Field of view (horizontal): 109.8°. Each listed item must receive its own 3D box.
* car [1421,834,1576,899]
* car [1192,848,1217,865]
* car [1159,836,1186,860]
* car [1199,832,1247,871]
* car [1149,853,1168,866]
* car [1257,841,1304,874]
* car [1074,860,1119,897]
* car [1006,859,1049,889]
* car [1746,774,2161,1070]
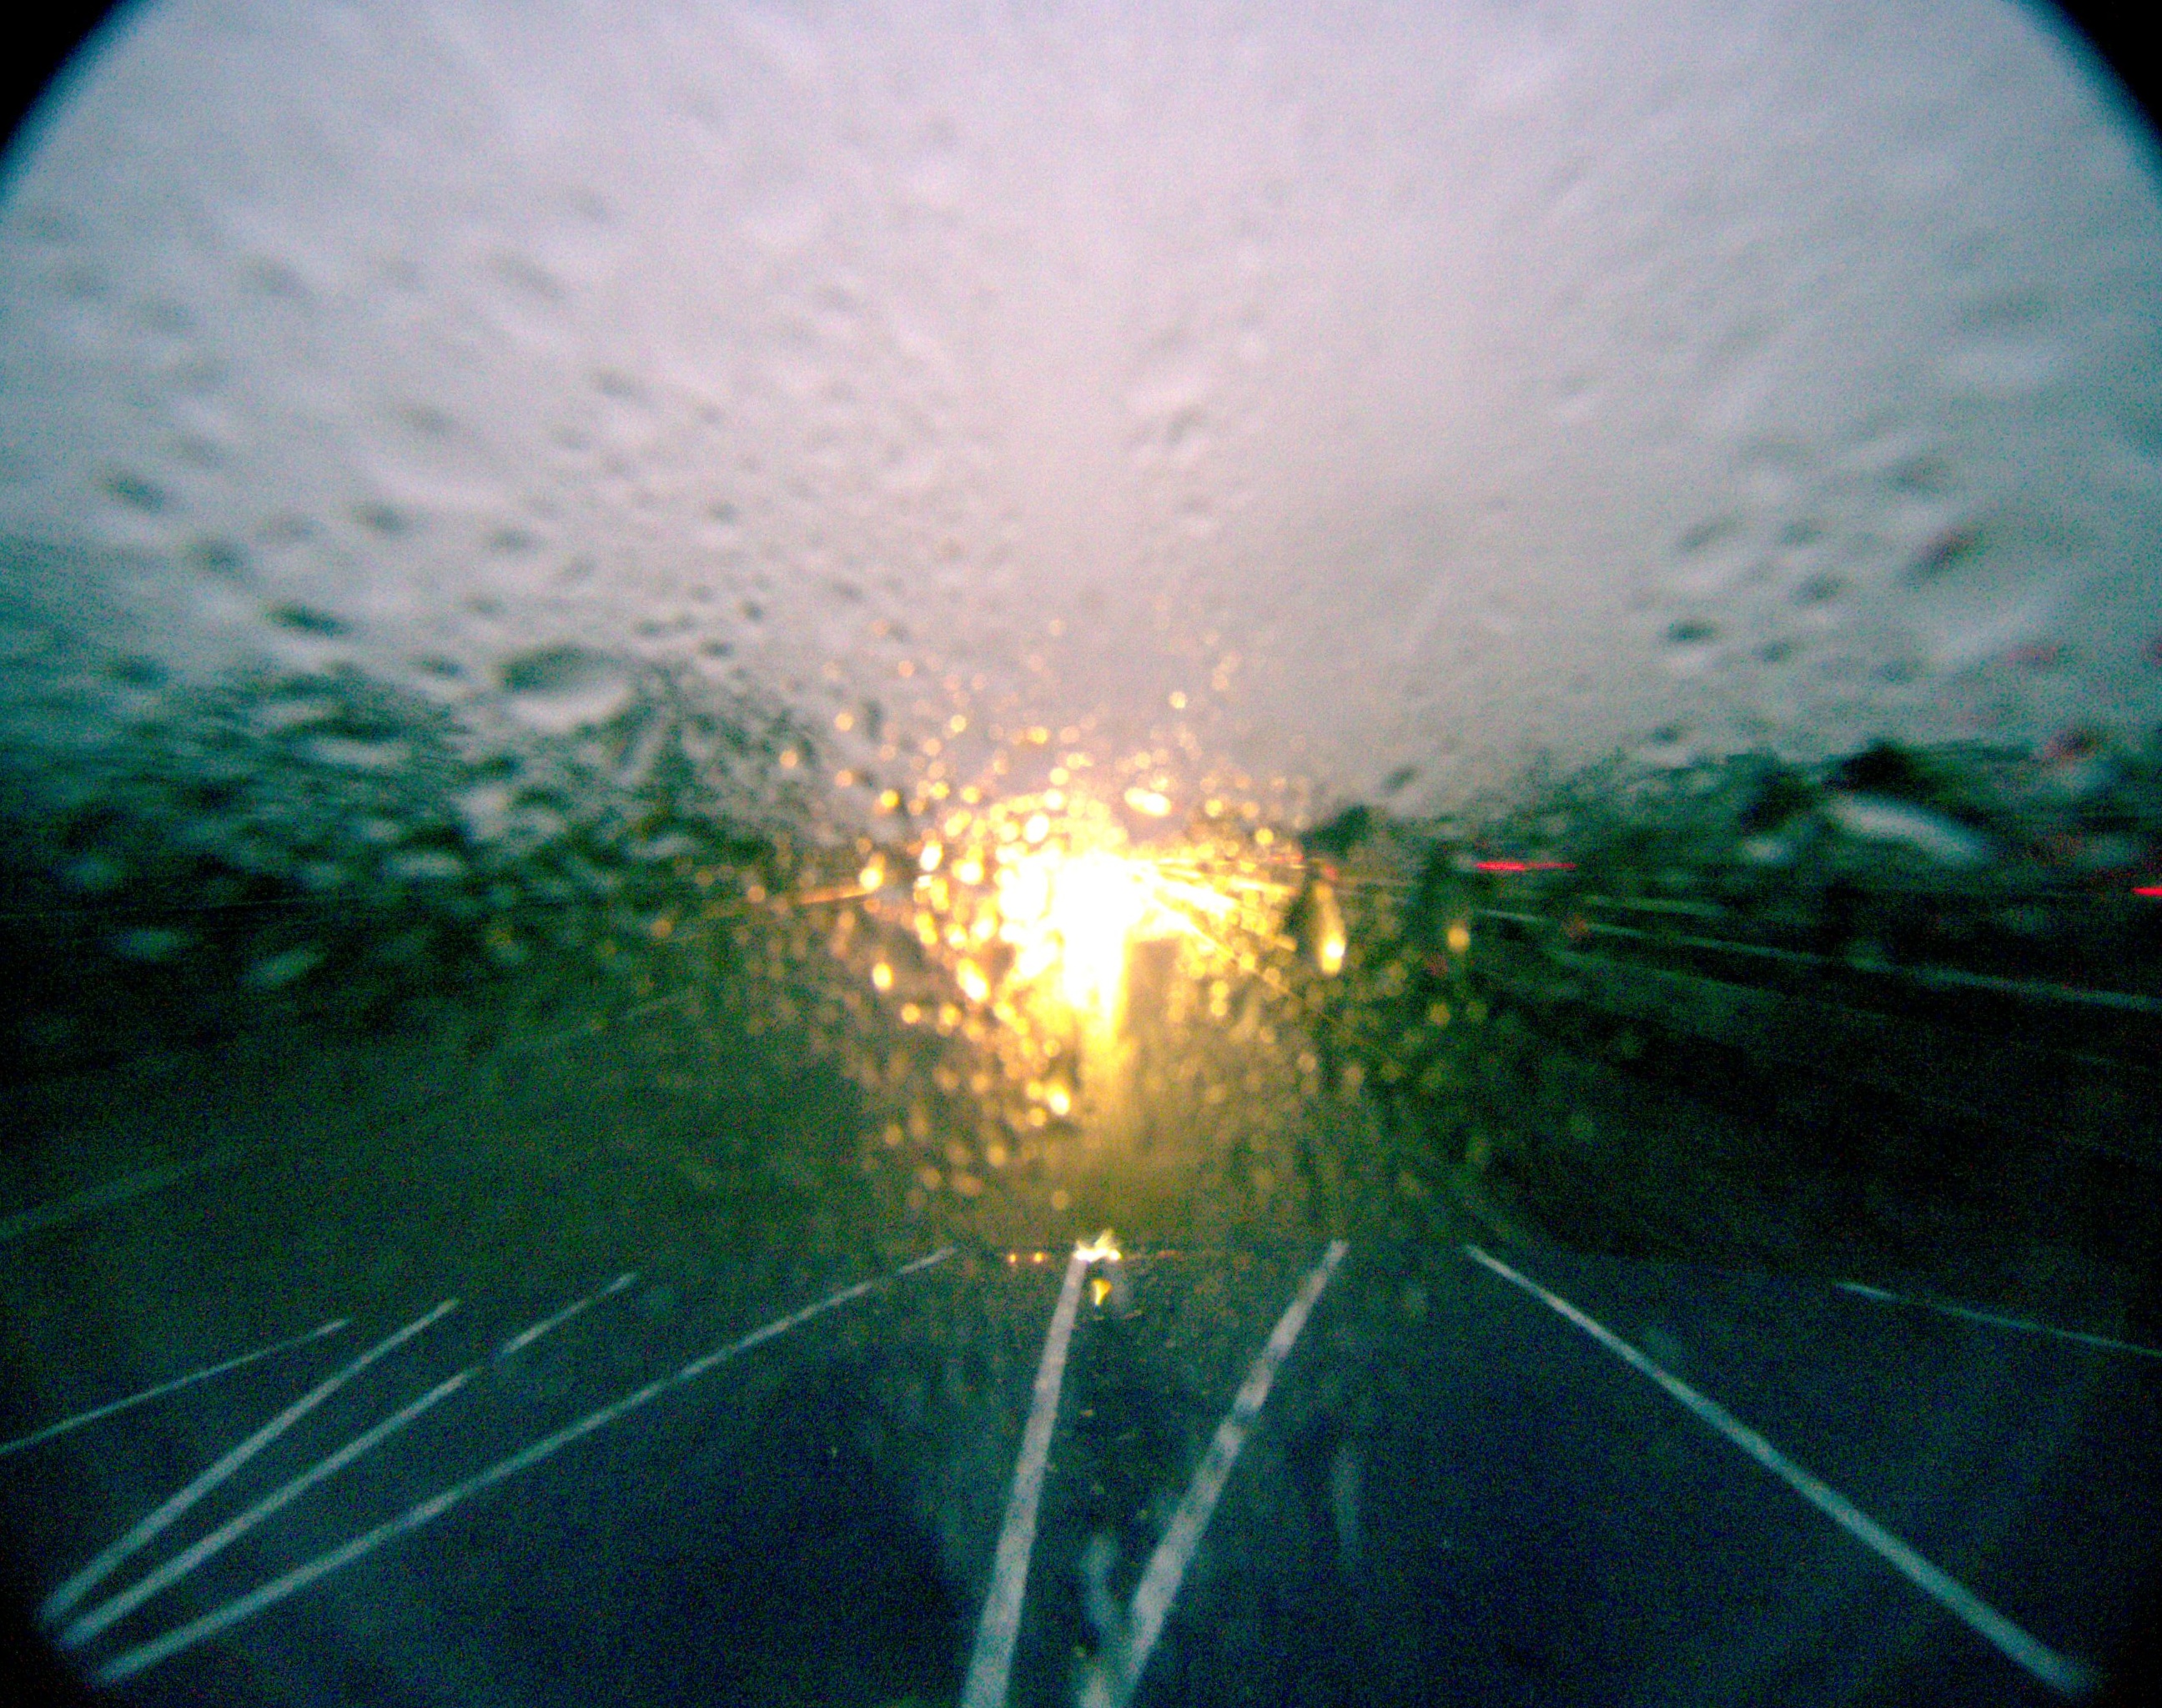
[{"bbox_3d":[11.185,0.312,20.730,1.973,1.515,4.199,-2,0,2],"label":"car"},{"bbox_3d":[12.182,0.242,75.011,1.860,1.557,3.922,-2,-1,0],"label":"car"},{"bbox_3d":[8.618,-0.565,71.644,2.086,2.135,4.461,-2,0,2],"label":"car"},{"bbox_3d":[8.097,-0.147,43.769,1.969,2.041,4.373,-2,0,1],"label":"car"},{"bbox_3d":[9.616,0.686,95.049,1.969,1.493,4.373,-2,0,1],"label":"car"},{"bbox_3d":[11.835,0.191,45.298,1.747,1.805,4.000,-2,0,1],"label":"car"},{"bbox_3d":[0.685,1.073,34.341,1.850,1.521,4.149,-2,-1,0],"label":"car"},{"bbox_3d":[-2.940,1.092,42.843,1.850,1.521,4.150,-2,-1,4],"label":"car"},{"bbox_3d":[7.273,0.354,5.176,1.998,1.718,4.000,-2,0,1],"label":"car"}]
